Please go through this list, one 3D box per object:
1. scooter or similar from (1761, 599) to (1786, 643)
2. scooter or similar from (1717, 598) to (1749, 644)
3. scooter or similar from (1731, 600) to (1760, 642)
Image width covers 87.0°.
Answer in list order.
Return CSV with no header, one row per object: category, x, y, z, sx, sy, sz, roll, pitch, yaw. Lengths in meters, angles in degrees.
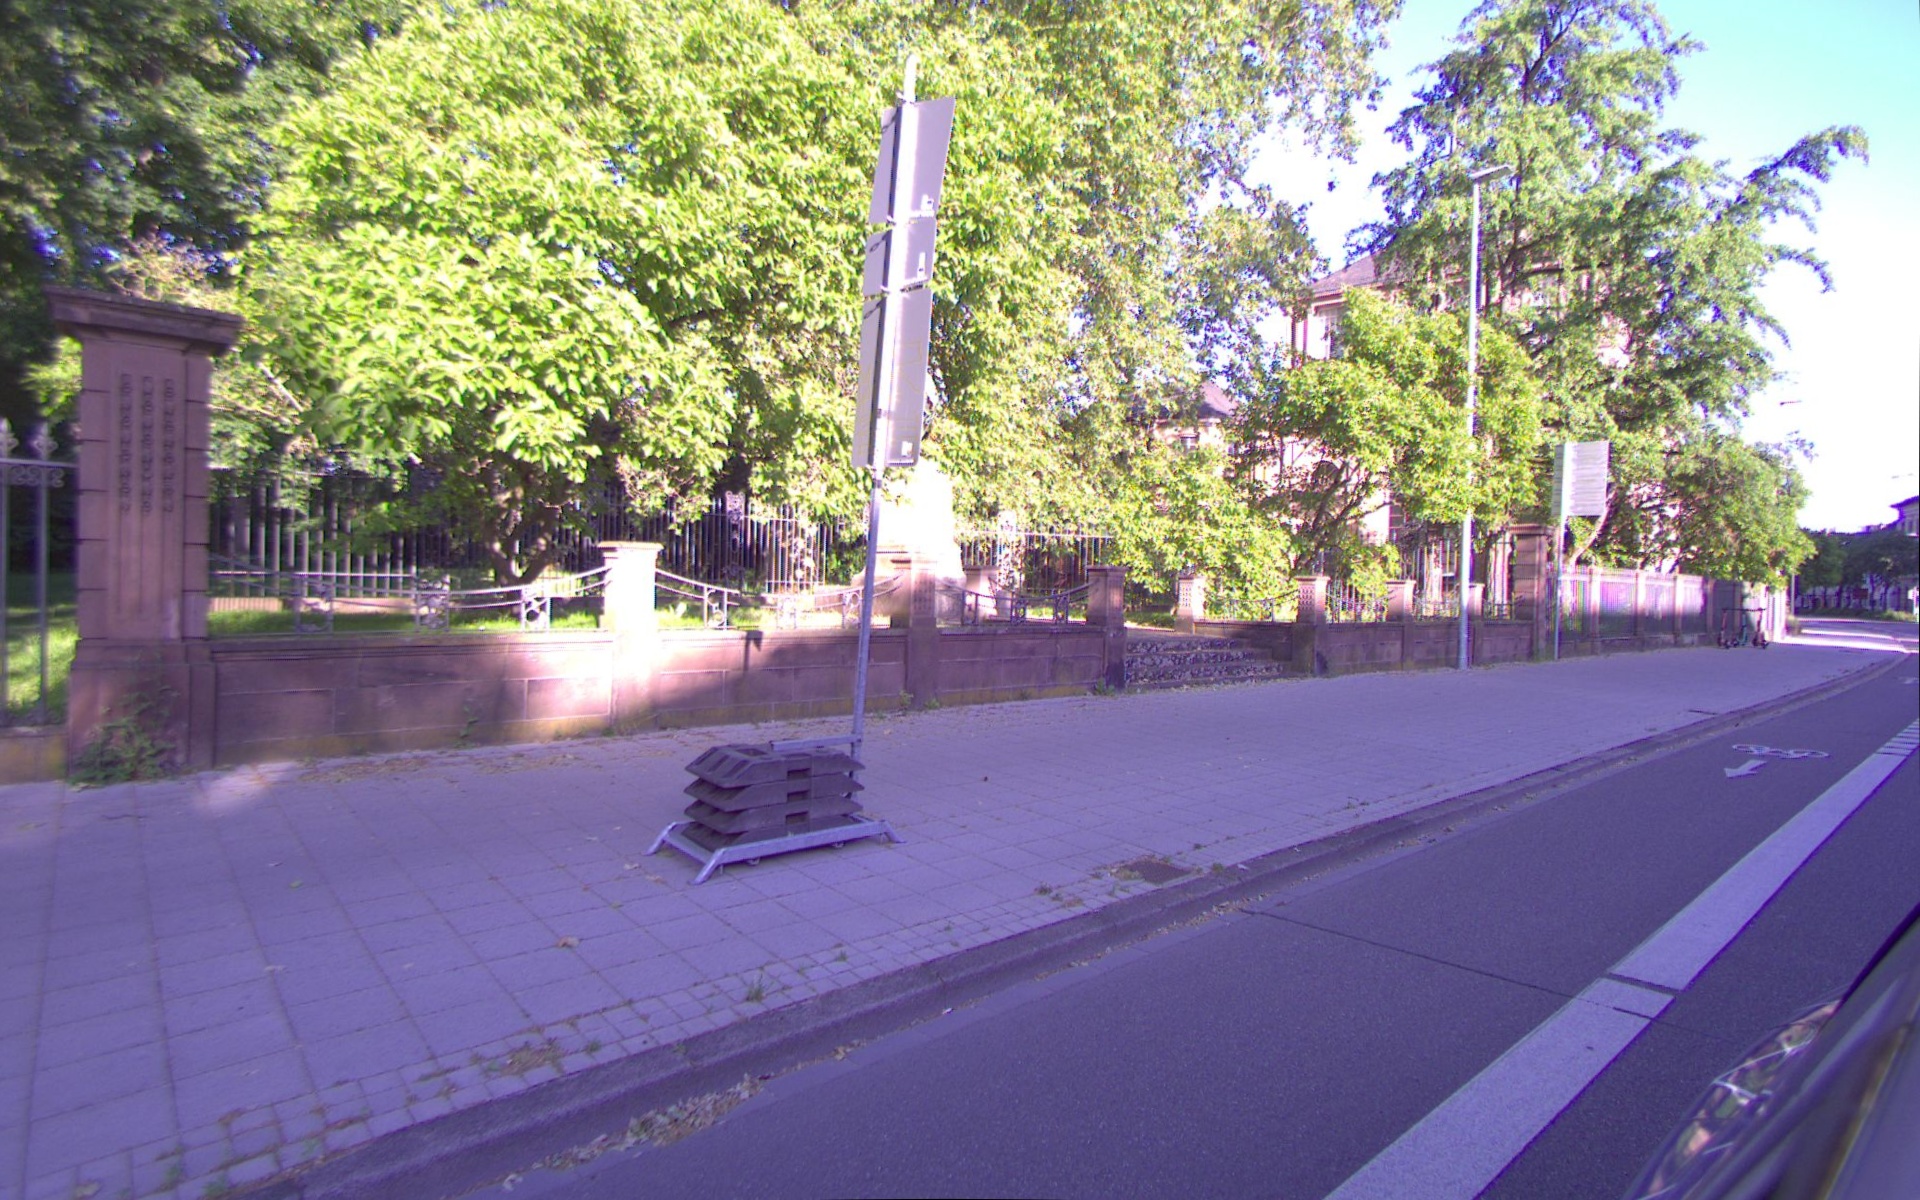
scooter or similar,24.757,0.624,30.806,0.514,1.255,1.502,2,2,37
scooter or similar,22.309,0.597,29.233,0.572,1.269,1.470,2,2,33
scooter or similar,23.657,0.613,30.457,0.574,1.199,1.465,3,2,41
